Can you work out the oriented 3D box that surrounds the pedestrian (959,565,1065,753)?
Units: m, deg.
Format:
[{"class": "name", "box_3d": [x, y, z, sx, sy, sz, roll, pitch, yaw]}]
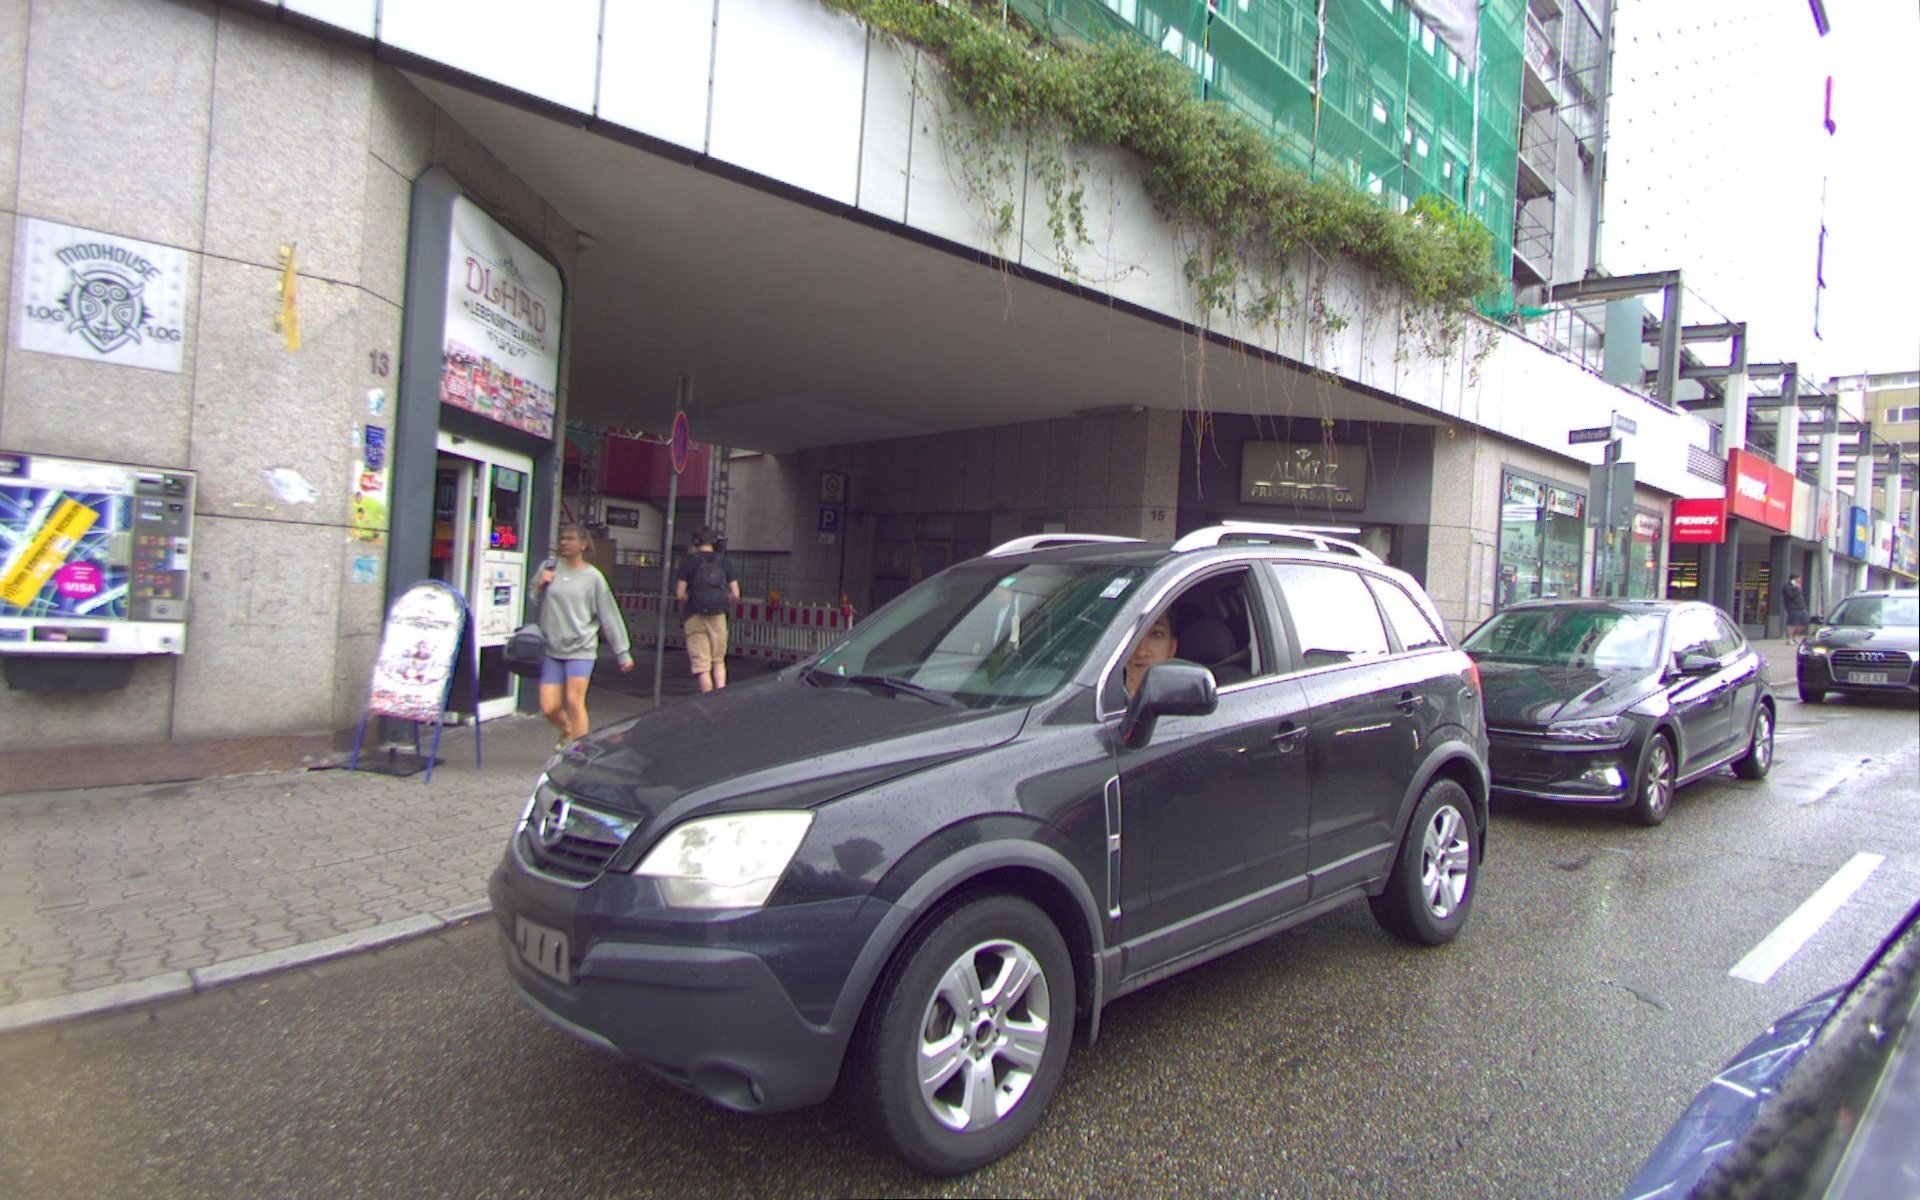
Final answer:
[{"class": "pedestrian", "box_3d": [0.533, 0.571, 10.508, 0.760, 1.838, 0.743, 0, 3, -40]}]

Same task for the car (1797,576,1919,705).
[{"class": "car", "box_3d": [13.518, 0.491, 14.318, 4.089, 1.628, 1.841, -1, 1, -39]}]

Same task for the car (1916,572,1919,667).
[{"class": "car", "box_3d": [19.722, 0.390, 19.060, 4.088, 1.728, 1.988, 1, 0, -39]}]

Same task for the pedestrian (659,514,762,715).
[{"class": "pedestrian", "box_3d": [-2.424, 0.111, 9.788, 0.757, 1.837, 0.745, 0, 5, -29]}]

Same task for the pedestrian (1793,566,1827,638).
[{"class": "pedestrian", "box_3d": [20.424, 0.041, 24.318, 0.570, 1.699, 0.509, -1, 3, -42]}]

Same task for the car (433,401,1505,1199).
[{"class": "car", "box_3d": [0.400, 0.522, 3.988, 4.091, 1.788, 1.763, 1, 0, -41]}]

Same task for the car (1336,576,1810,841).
[{"class": "car", "box_3d": [4.841, 0.639, 7.776, 4.086, 1.523, 1.759, 1, 0, -38]}]

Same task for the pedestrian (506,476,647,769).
[{"class": "pedestrian", "box_3d": [-2.604, 0.112, 6.839, 0.729, 1.837, 0.774, 0, 5, -32]}]

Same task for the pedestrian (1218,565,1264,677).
[{"class": "pedestrian", "box_3d": [4.132, 0.298, 14.876, 0.630, 1.615, 0.574, 0, 1, 17]}]

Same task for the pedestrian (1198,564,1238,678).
[{"class": "pedestrian", "box_3d": [3.972, 0.316, 15.597, 0.474, 1.729, 0.467, -1, 0, 1]}]

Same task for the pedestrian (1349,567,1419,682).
[{"class": "pedestrian", "box_3d": [6.325, 0.352, 15.121, 0.626, 1.663, 0.735, -1, 1, -17]}]
